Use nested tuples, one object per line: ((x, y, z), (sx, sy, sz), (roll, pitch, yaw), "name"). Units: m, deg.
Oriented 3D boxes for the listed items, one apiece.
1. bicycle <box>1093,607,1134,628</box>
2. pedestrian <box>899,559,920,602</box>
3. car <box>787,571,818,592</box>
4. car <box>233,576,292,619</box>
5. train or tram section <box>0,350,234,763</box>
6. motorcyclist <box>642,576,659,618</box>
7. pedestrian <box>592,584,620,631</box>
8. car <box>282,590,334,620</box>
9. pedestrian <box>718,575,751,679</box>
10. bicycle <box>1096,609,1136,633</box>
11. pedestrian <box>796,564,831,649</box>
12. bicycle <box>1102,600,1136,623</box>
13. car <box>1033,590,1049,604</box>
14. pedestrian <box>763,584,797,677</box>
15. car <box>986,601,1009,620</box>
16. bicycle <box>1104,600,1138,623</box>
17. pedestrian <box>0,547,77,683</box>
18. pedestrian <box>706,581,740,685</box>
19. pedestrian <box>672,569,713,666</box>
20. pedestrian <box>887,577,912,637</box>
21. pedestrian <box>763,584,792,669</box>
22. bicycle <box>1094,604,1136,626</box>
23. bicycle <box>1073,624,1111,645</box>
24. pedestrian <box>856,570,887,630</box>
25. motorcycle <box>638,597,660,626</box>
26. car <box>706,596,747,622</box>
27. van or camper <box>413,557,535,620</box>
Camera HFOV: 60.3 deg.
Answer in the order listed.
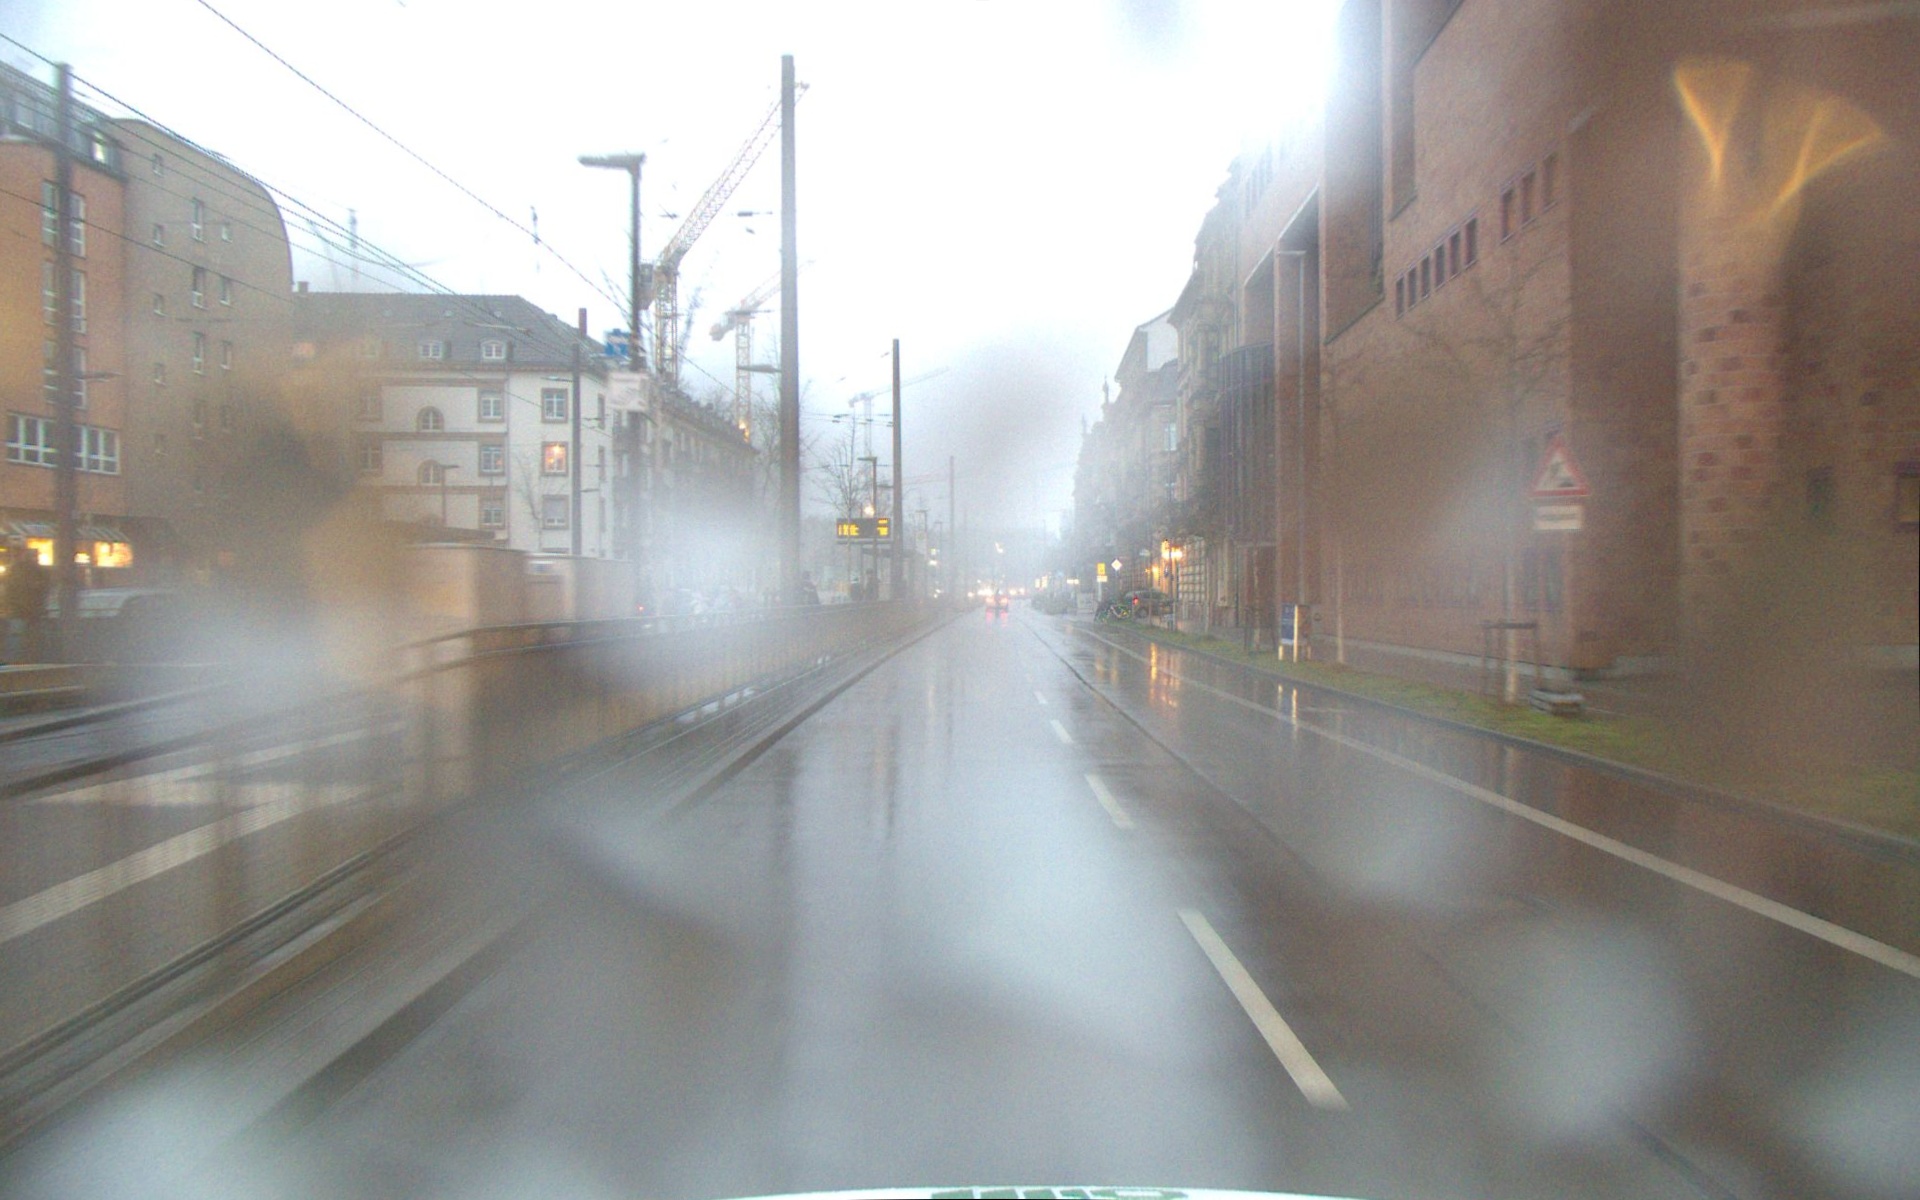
((8.115, 0.926, 87.234), (2.100, 1.073, 0.484), (-2, 0, 0), "bicycle")
((-1.853, -0.711, 60.641), (0.667, 1.542, 0.617), (0, 0, -11), "pedestrian")
((-10.620, -1.215, 111.700), (1.647, 1.378, 3.546), (1, 0, 1), "car")
((-34.555, -0.120, 82.026), (1.710, 2.070, 4.135), (-1, 0, -10), "car")
((-9.914, -0.400, 13.369), (2.839, 3.630, 11.038), (1, 0, 2), "train or tram section")
((-11.295, -0.112, 60.350), (0.489, 1.522, 0.556), (1, 0, -4), "motorcyclist")
((-11.912, 0.242, 55.629), (0.630, 1.551, 0.745), (1, 0, -40), "pedestrian")
((-32.853, 0.251, 83.471), (1.571, 1.455, 4.135), (-1, 0, -9), "car")
((-3.756, 0.444, 27.560), (0.471, 1.708, 0.563), (0, 0, -1), "pedestrian")
((8.031, 1.102, 85.264), (1.967, 1.114, 0.425), (-3, 0, 0), "bicycle")
((-3.034, 0.138, 34.232), (0.635, 1.733, 0.566), (0, 0, -16), "pedestrian")
((8.059, 0.574, 83.813), (1.694, 1.073, 0.371), (-2, 0, 0), "bicycle")
((9.408, -0.372, 191.410), (1.761, 1.632, 3.772), (-1, 0, 4), "car")
((-3.148, 0.523, 28.961), (0.529, 1.618, 0.563), (0, 0, -1), "pedestrian")
((3.030, 0.856, 134.062), (1.747, 1.492, 3.150), (-1, 0, 3), "car")
((8.105, 0.574, 83.311), (1.694, 1.073, 0.371), (-2, 0, 0), "bicycle")
((-13.389, 0.211, 23.948), (0.776, 1.919, 0.882), (0, 0, -6), "pedestrian")
((-3.737, 0.514, 26.092), (0.471, 1.618, 0.563), (0, 0, -1), "pedestrian")
((-4.508, 0.297, 27.881), (0.605, 1.618, 0.622), (0, 0, -1), "pedestrian")
((-2.008, 0.229, 54.981), (0.793, 1.981, 0.805), (0, 0, 2), "pedestrian")
((-3.709, 0.530, 33.644), (0.529, 1.722, 0.643), (0, 0, -1), "pedestrian")
((8.108, 0.785, 86.610), (2.100, 1.073, 0.425), (-3, 1, 1), "bicycle")
((7.267, 1.887, 90.965), (2.061, 1.070, 0.474), (-2, 0, -25), "bicycle")
((-2.581, 0.010, 48.264), (0.764, 1.733, 0.770), (0, 0, -17), "pedestrian")
((-11.309, 0.416, 60.245), (0.502, 1.026, 1.806), (1, 0, -2), "motorcycle")
((-12.552, 0.468, 89.186), (1.647, 1.378, 3.546), (1, 0, 1), "car")
((-22.145, -0.501, 75.768), (2.714, 2.729, 6.760), (1, 0, 9), "van or camper")
